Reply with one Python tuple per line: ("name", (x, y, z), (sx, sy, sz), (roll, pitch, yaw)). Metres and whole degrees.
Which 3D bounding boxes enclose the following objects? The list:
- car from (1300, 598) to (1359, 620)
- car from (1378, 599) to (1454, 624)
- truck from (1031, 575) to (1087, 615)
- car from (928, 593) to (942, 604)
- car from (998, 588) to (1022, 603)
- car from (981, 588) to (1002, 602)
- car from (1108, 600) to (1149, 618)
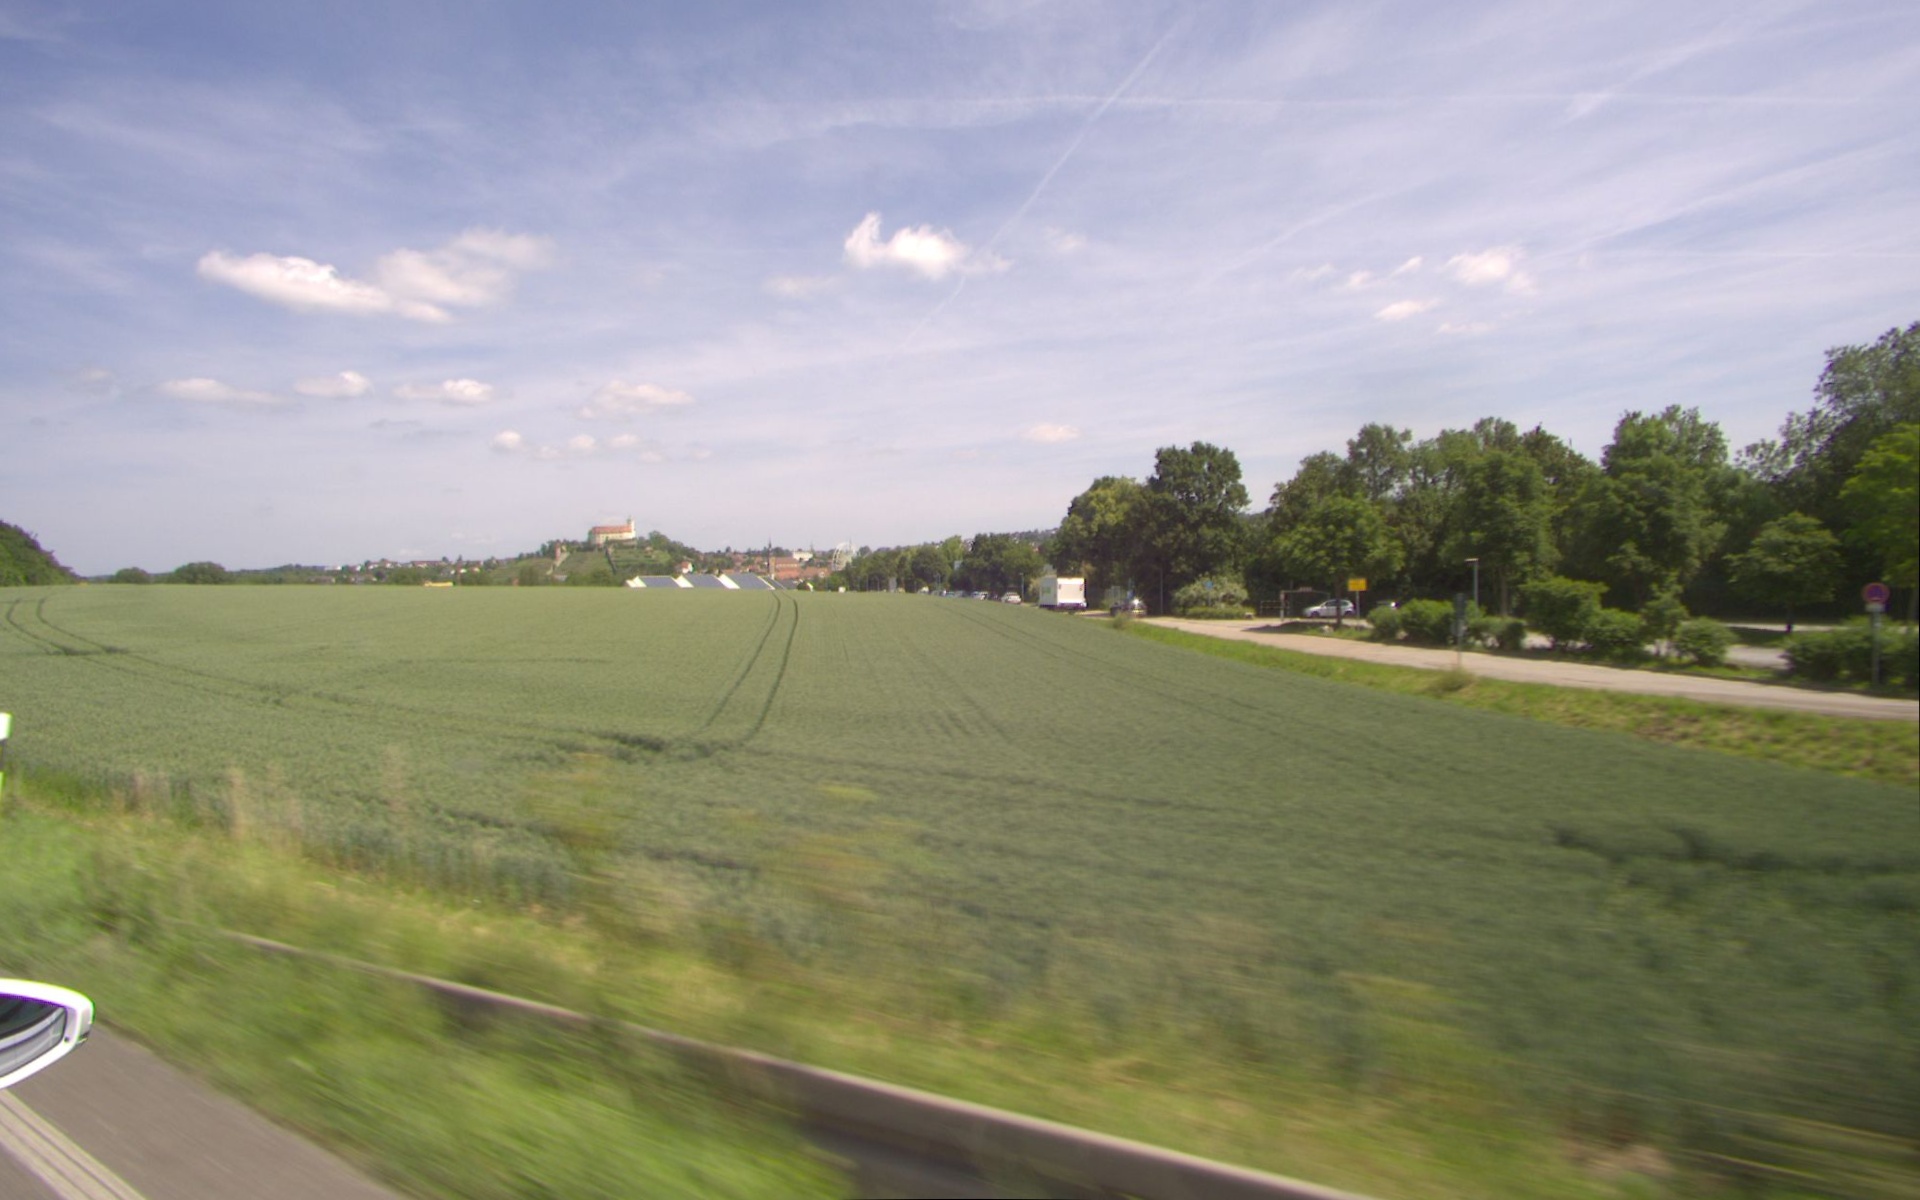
("car", (28.611, 0.716, 77.633), (3.926, 1.562, 1.999), (-3, -1, 12))
("car", (32.839, 0.787, 72.259), (4.851, 1.726, 1.995), (1, 0, 23))
("truck", (9.174, -0.539, 93.821), (3.094, 3.585, 7.126), (-2, 2, -13))
("car", (-4.299, -0.243, 173.068), (1.962, 1.834, 4.386), (0, 1, -8))
("car", (6.169, -0.564, 124.116), (1.962, 1.833, 4.386), (0, 0, -10))
("car", (4.275, -0.708, 134.978), (1.962, 1.834, 4.384), (0, 1, -10))
("car", (14.243, 0.764, 85.060), (1.806, 1.427, 4.438), (-2, 1, -13))
